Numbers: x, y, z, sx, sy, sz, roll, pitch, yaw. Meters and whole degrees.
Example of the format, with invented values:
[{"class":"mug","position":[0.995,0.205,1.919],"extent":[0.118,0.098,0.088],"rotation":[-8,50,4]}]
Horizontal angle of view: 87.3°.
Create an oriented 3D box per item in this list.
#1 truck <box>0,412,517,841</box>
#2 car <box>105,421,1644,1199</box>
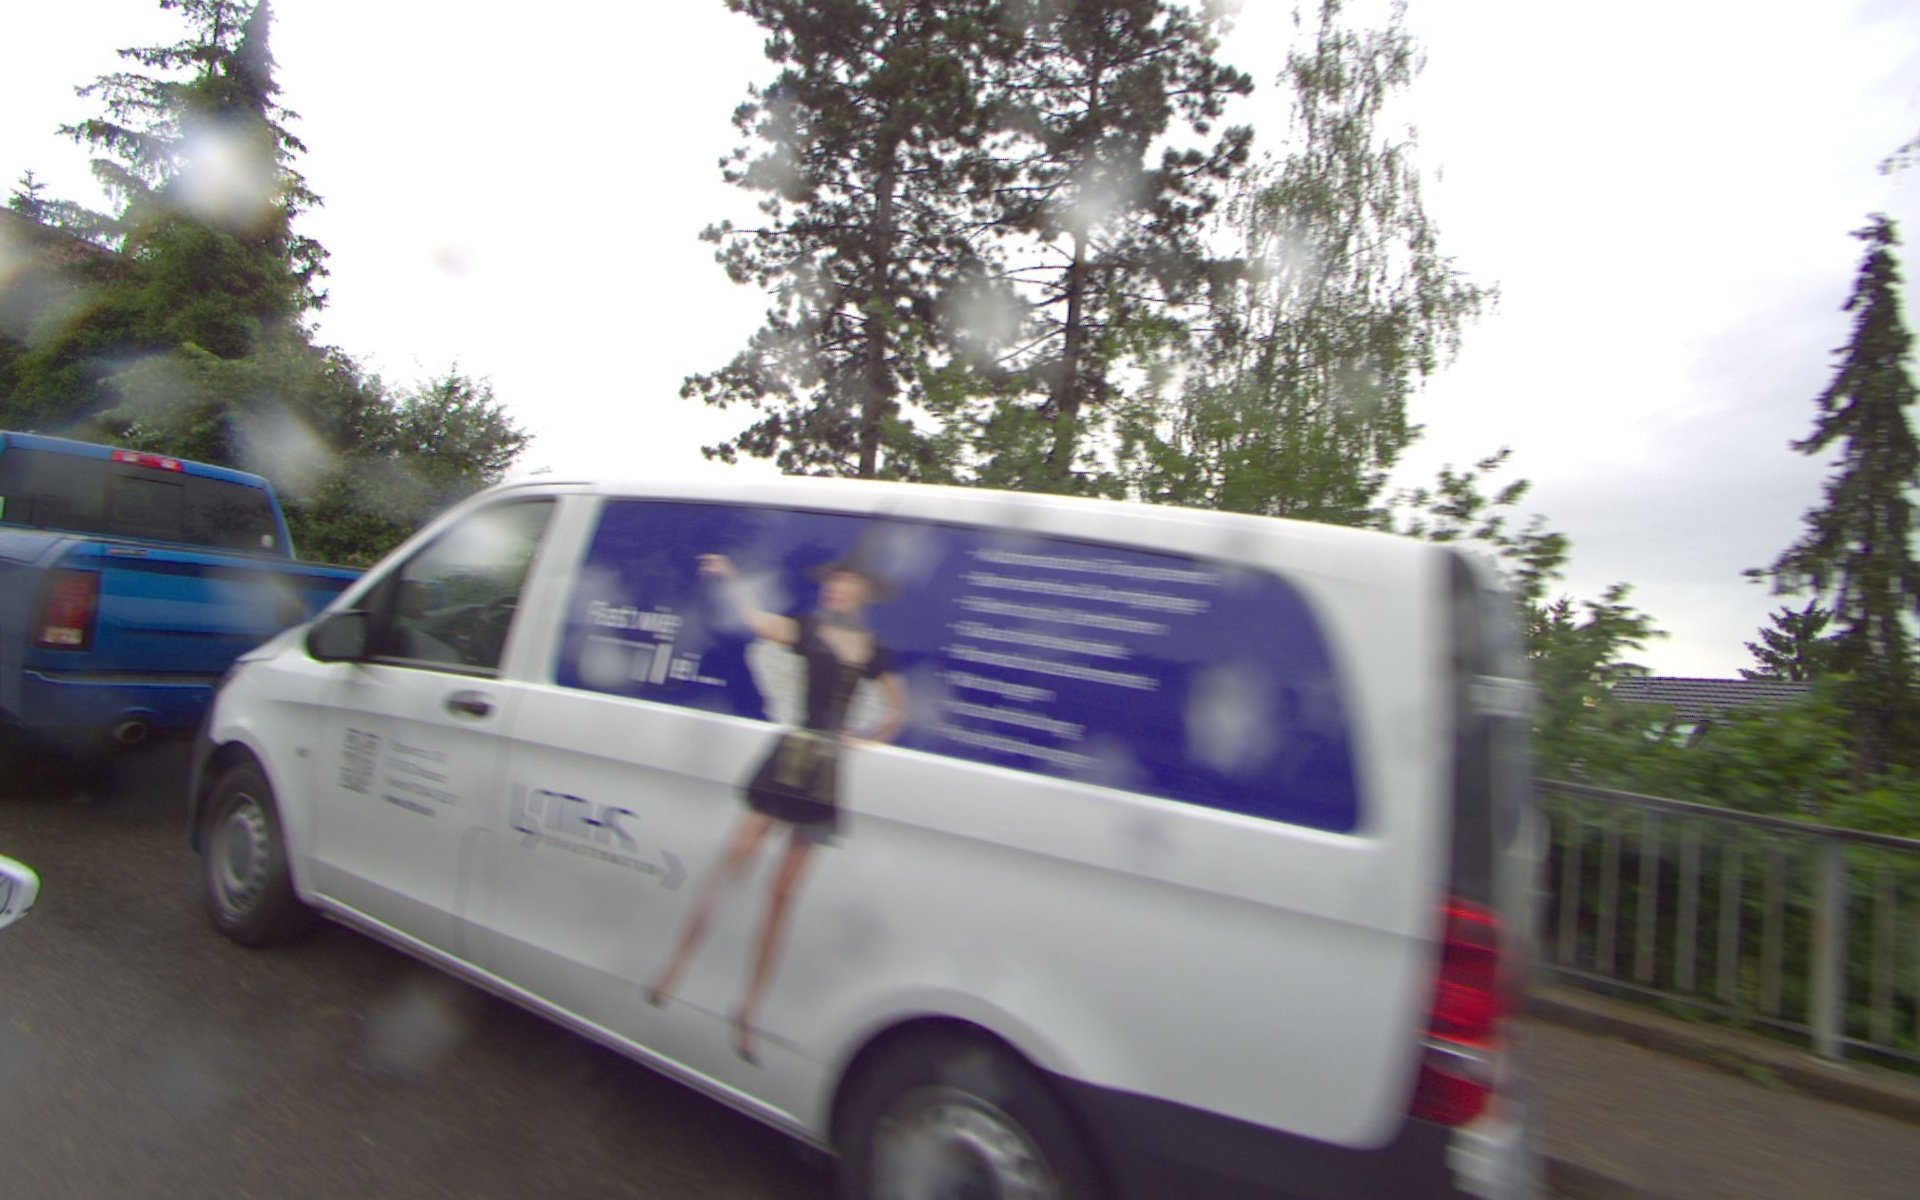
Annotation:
[{"class":"truck","position":[-6.178,-0.075,6.929],"extent":[6.506,1.871,2.121],"rotation":[7,-4,30]},{"class":"car","position":[-0.822,0.511,3.636],"extent":[5.182,1.864,1.830],"rotation":[7,-1,32]}]
